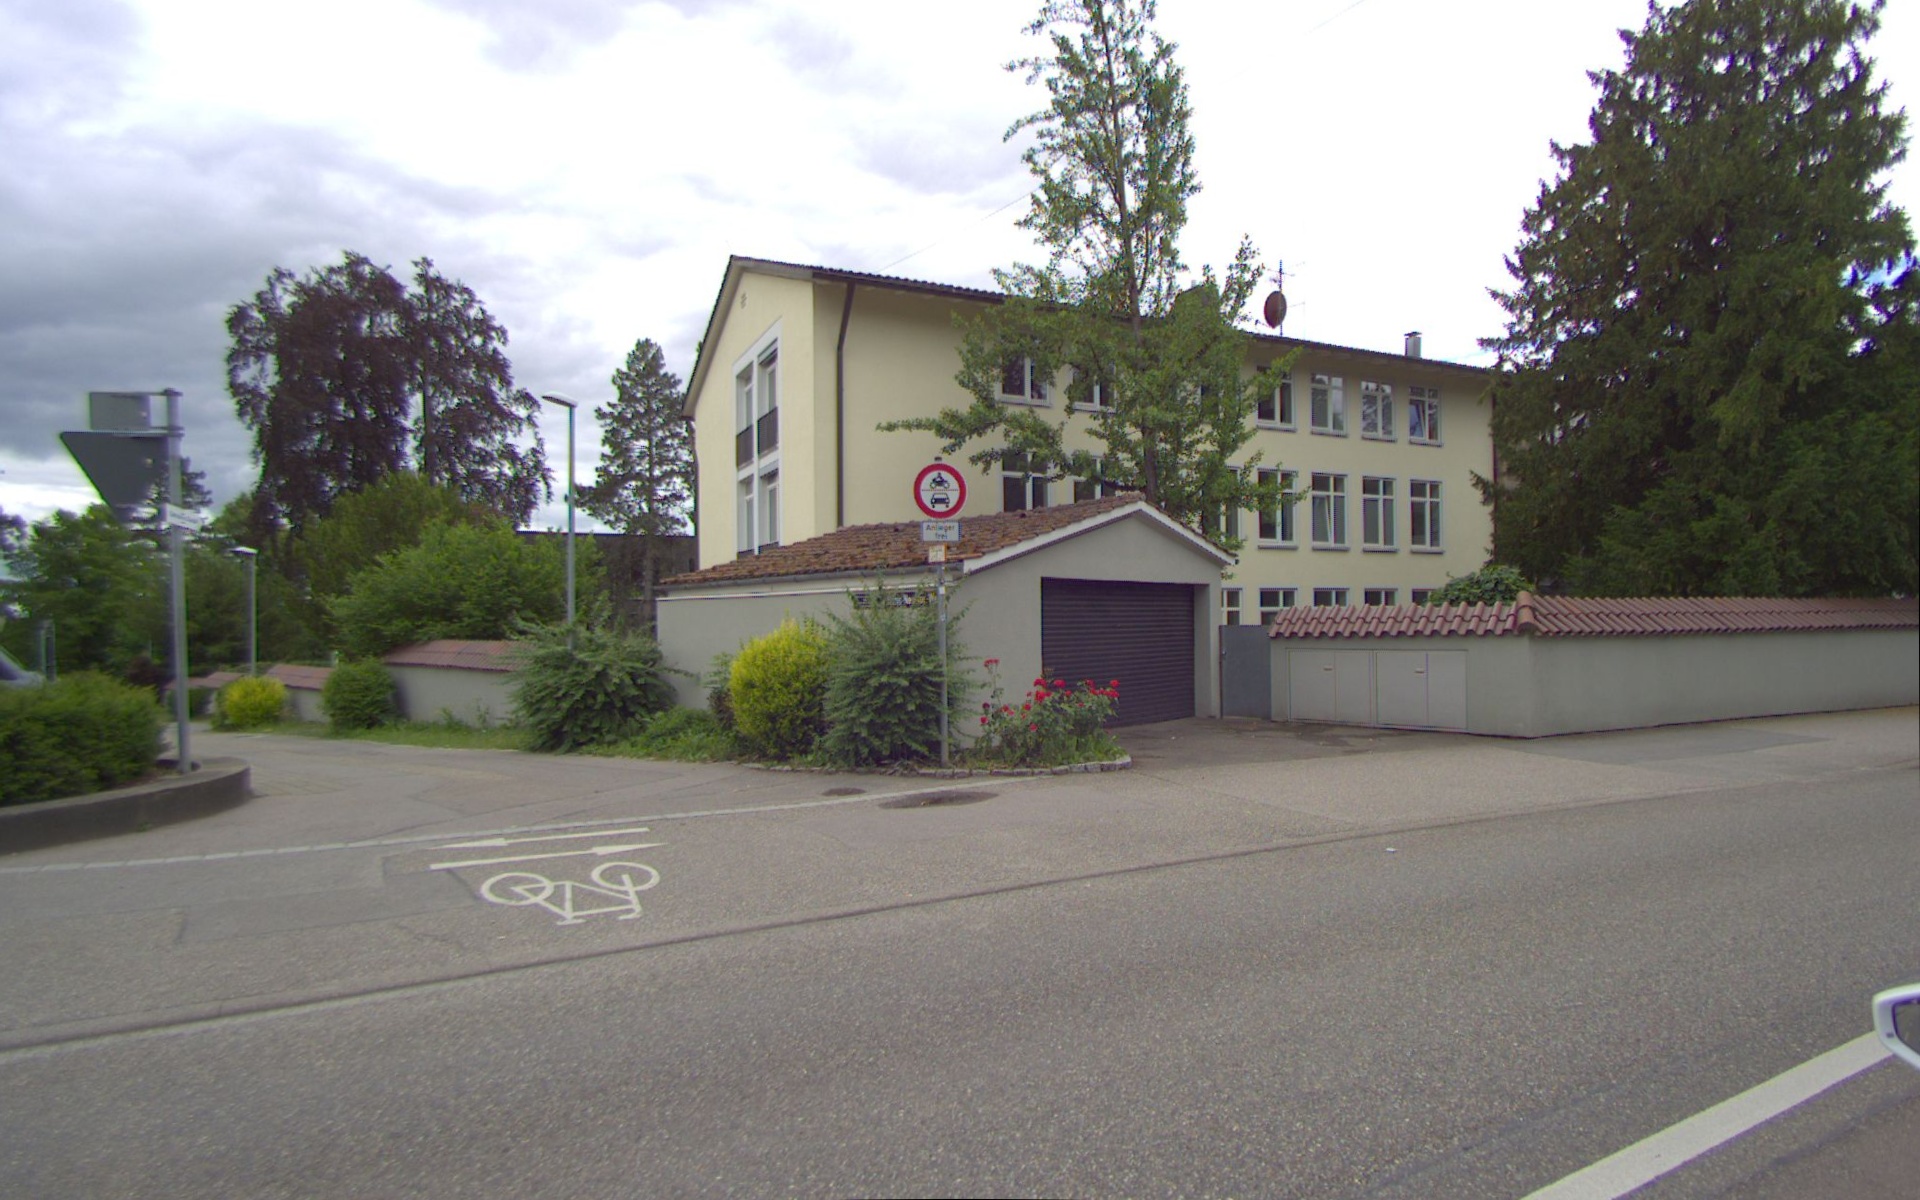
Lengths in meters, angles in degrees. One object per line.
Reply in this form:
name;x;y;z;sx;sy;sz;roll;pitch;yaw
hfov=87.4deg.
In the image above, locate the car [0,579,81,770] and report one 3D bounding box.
car;-15.448;1.002;13.211;1.973;2.653;5.687;-1;-2;44
